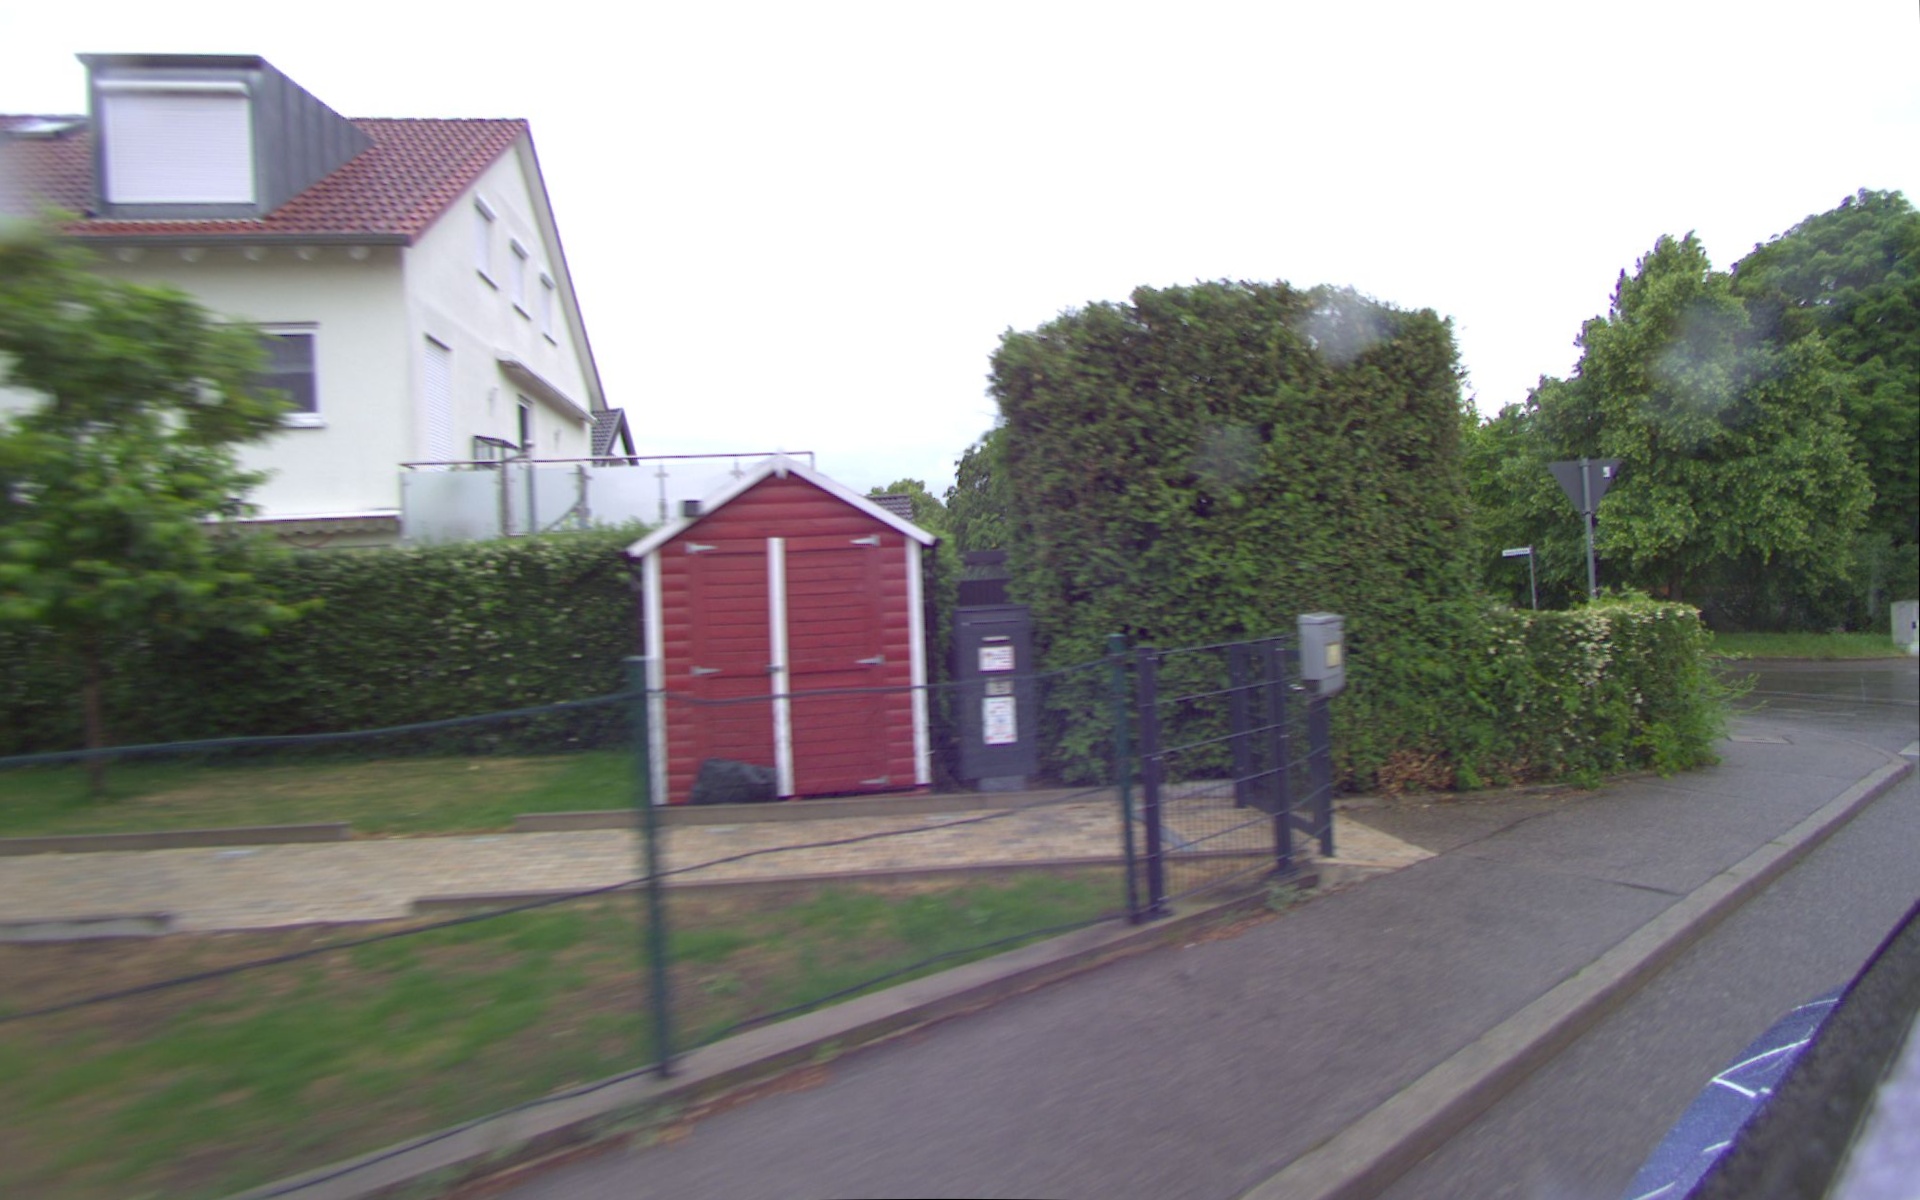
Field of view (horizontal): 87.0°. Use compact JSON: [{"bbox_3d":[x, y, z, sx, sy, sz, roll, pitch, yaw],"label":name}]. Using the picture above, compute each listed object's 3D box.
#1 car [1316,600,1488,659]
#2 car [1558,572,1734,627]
[{"bbox_3d":[12.007,0.775,27.778,1.795,1.460,4.171,0,-1,-24],"label":"car"},{"bbox_3d":[19.835,-0.059,29.475,1.815,1.473,4.009,0,1,-16],"label":"car"}]
